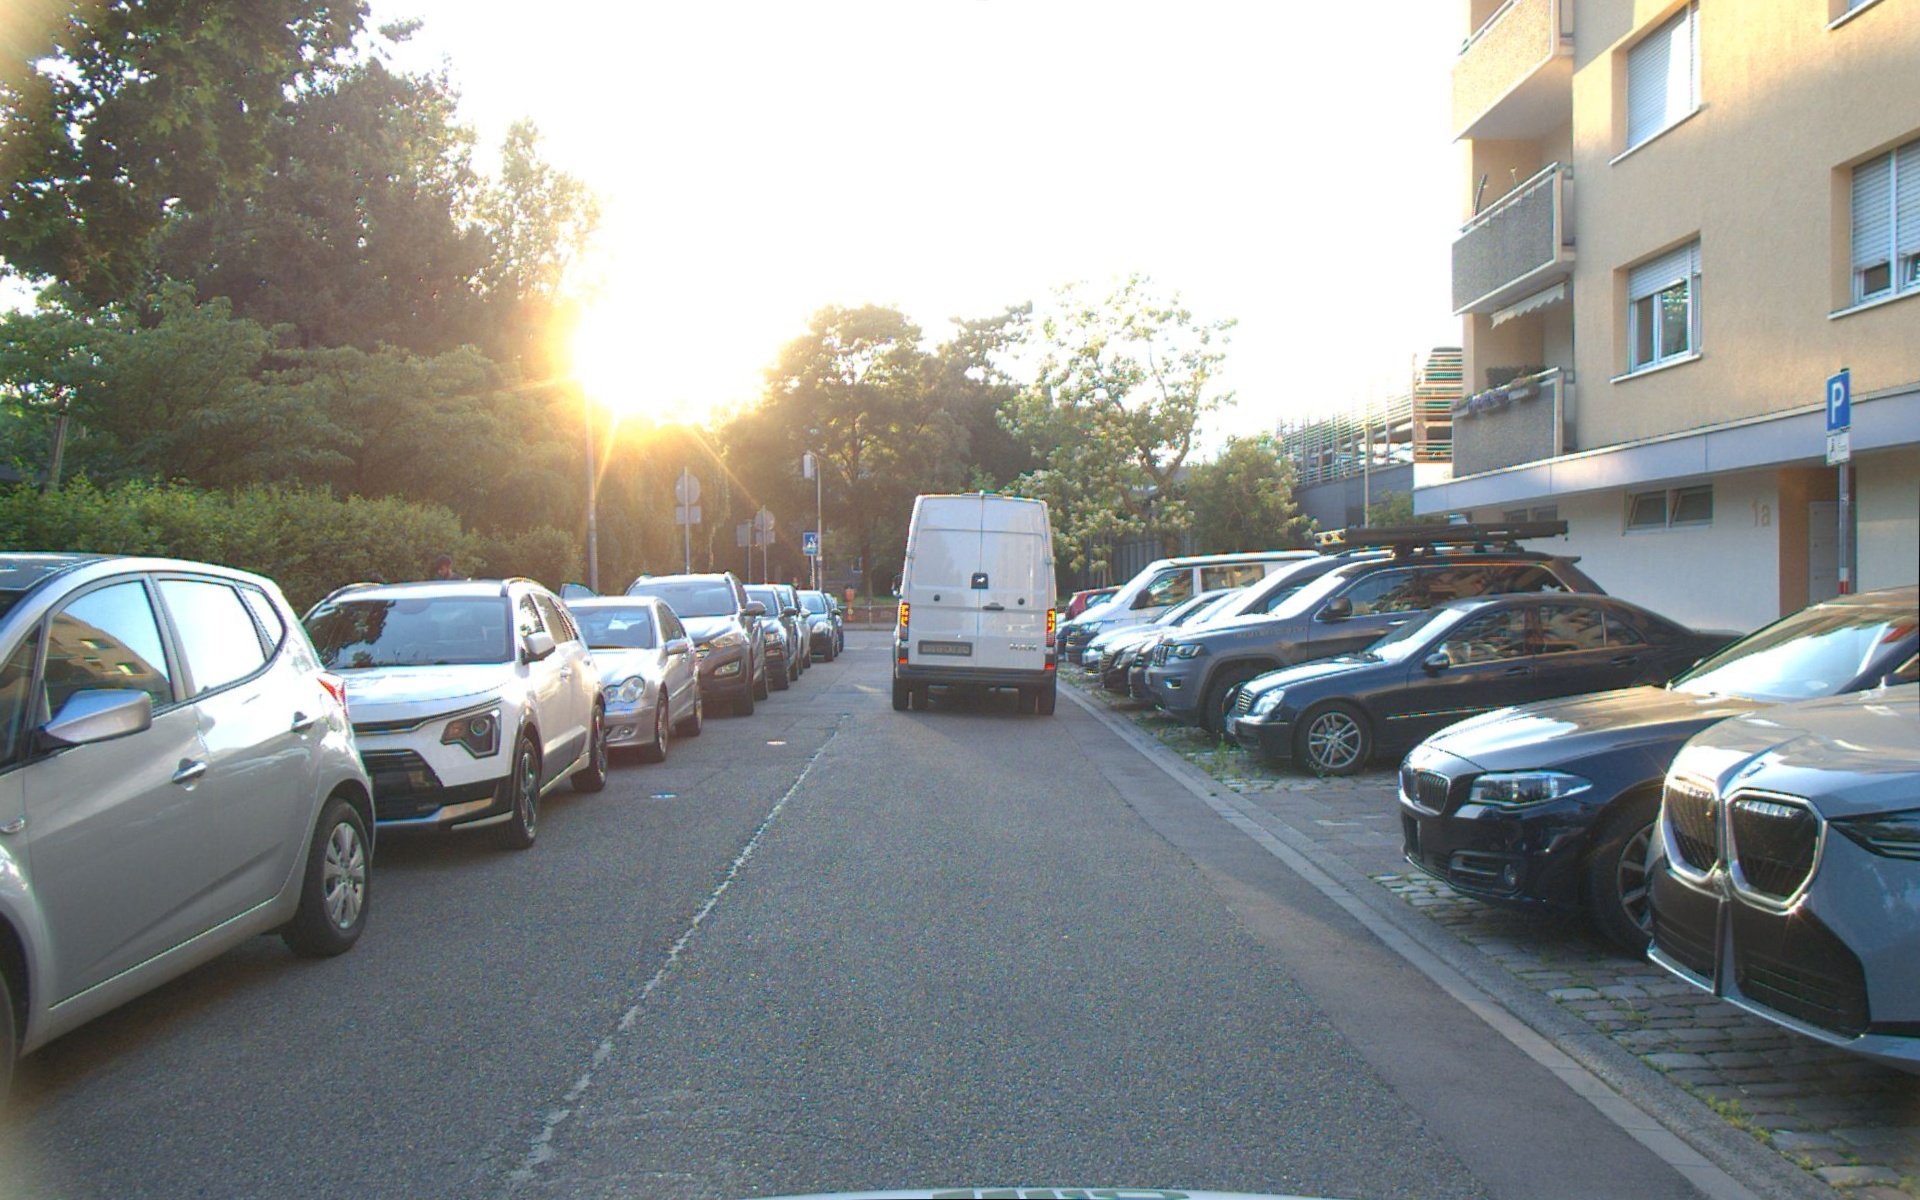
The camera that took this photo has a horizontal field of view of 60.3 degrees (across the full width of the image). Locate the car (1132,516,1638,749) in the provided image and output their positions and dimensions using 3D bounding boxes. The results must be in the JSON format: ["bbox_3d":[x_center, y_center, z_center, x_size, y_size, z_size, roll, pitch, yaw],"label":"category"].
[{"bbox_3d":[4.190,0.305,16.839,4.611,2.183,1.999,1,0,-3],"label":"car"}]

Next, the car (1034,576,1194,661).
[{"bbox_3d":[3.866,0.448,42.060,3.905,2.049,2.000,1,0,0],"label":"car"}]

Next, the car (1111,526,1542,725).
[{"bbox_3d":[4.217,0.279,19.548,4.611,2.183,1.999,1,0,-3],"label":"car"}]

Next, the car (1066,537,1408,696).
[{"bbox_3d":[3.962,0.226,24.202,4.611,2.183,1.999,1,0,-3],"label":"car"}]

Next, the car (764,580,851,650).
[{"bbox_3d":[-3.765,0.333,41.452,1.954,1.646,3.998,1,1,-3],"label":"car"}]

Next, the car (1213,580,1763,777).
[{"bbox_3d":[4.411,0.623,14.230,4.151,1.450,1.719,-2,0,-2],"label":"car"}]

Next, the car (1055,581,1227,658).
[{"bbox_3d":[4.305,0.445,39.748,3.905,1.758,2.000,1,0,-1],"label":"car"}]

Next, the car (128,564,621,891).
[{"bbox_3d":[-3.363,0.617,10.388,1.819,1.582,4.097,-2,1,-4],"label":"car"}]

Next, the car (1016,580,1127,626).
[{"bbox_3d":[4.155,0.100,62.020,3.909,1.646,1.998,1,0,-5],"label":"car"}]

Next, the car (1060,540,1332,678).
[{"bbox_3d":[4.041,0.142,28.835,4.405,2.269,2.031,1,0,-2],"label":"car"}]

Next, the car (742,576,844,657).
[{"bbox_3d":[-3.567,0.323,35.944,1.954,1.646,3.998,1,1,-3],"label":"car"}]

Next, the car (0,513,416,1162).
[{"bbox_3d":[-3.332,0.632,5.275,1.746,1.659,4.001,-2,0,1],"label":"car"}]

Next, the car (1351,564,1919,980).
[{"bbox_3d":[3.994,0.620,7.493,3.910,1.479,1.833,-3,1,-5],"label":"car"}]

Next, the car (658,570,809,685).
[{"bbox_3d":[-3.454,0.379,25.914,1.954,1.646,3.998,1,1,-3],"label":"car"}]

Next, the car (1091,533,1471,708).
[{"bbox_3d":[4.162,0.254,21.974,4.611,2.183,1.999,1,0,-3],"label":"car"}]

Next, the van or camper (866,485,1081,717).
[{"bbox_3d":[0.236,-0.012,22.002,2.403,2.591,6.084,2,1,1],"label":"van or camper"}]

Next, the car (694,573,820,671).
[{"bbox_3d":[-3.636,0.355,30.223,1.954,1.646,3.998,1,1,-3],"label":"car"}]

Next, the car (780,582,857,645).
[{"bbox_3d":[-3.859,0.334,45.674,1.954,1.646,3.998,1,1,-3],"label":"car"}]

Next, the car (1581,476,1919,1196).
[{"bbox_3d":[4.398,0.518,5.063,4.350,1.758,1.770,-1,1,-8],"label":"car"}]

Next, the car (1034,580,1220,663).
[{"bbox_3d":[3.653,0.456,36.697,3.905,1.758,2.000,1,0,-1],"label":"car"}]

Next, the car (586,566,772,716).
[{"bbox_3d":[-3.397,0.446,20.708,1.955,1.691,3.996,0,0,-5],"label":"car"}]

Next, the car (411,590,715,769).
[{"bbox_3d":[-3.524,0.639,15.473,1.953,1.422,3.999,1,0,-1],"label":"car"}]

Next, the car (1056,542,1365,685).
[{"bbox_3d":[3.957,0.202,26.648,4.611,2.183,1.999,1,0,-3],"label":"car"}]
